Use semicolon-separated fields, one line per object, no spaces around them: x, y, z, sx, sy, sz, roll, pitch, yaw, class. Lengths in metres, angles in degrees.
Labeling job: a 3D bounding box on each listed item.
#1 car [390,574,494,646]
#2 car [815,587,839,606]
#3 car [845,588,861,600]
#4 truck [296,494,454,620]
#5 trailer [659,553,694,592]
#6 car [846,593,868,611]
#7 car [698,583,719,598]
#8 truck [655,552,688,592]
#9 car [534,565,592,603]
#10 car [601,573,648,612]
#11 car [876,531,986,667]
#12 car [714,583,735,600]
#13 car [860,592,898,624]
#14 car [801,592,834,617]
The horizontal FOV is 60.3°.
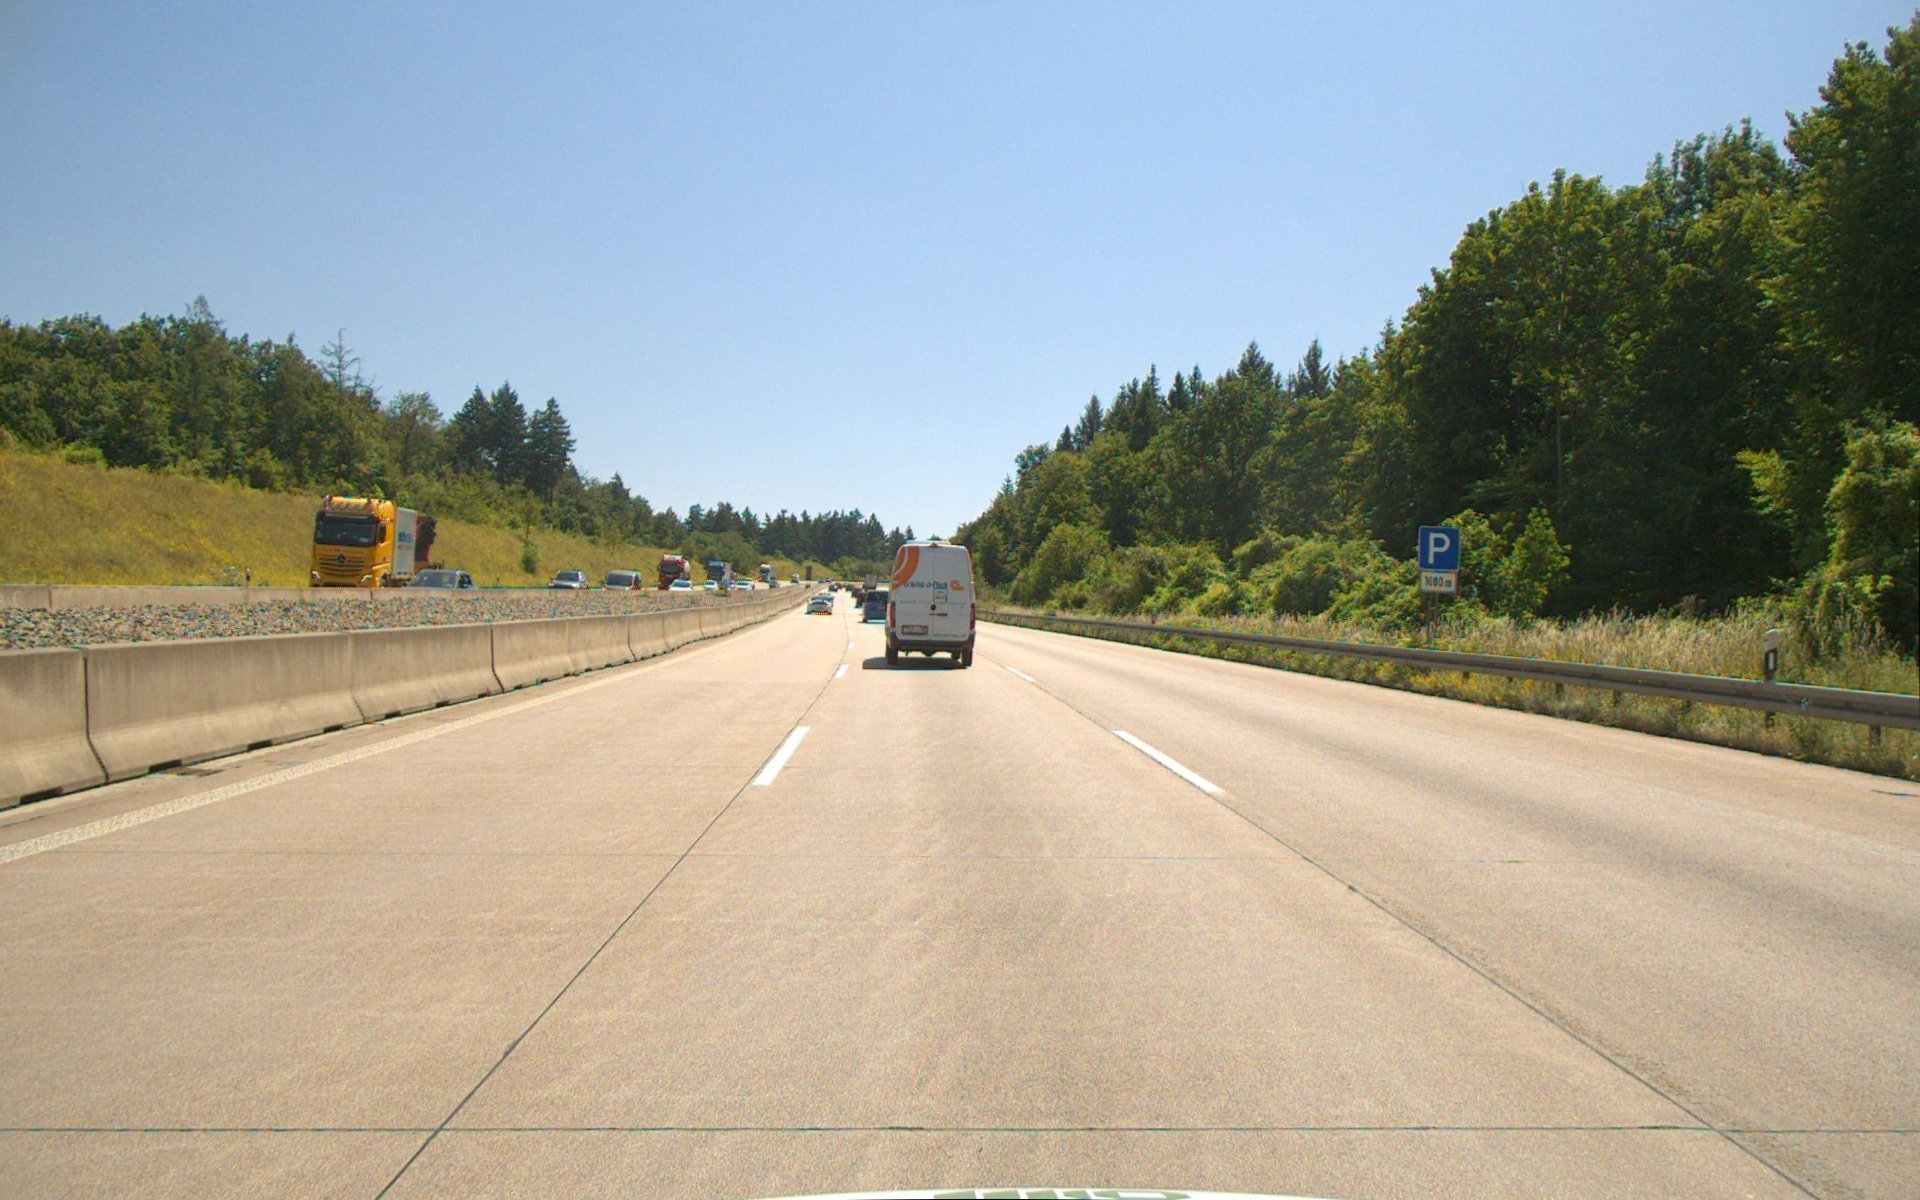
-15.512;0.284;49.753;1.953;2.049;3.999;1;0;-2;car
-13.072;-0.368;162.583;1.953;1.713;3.999;3;0;0;car
-16.013;-0.884;247.846;1.953;1.713;3.999;3;0;0;car
-23.301;-1.591;66.675;2.856;4.592;11.251;1;0;-3;truck
-32.884;-3.120;192.022;2.876;4.241;9.327;3;0;-4;trailer
-10.497;0.245;169.073;1.953;1.713;3.999;3;0;0;car
-29.082;-1.056;191.403;1.954;1.610;4.176;3;0;-4;car
-32.524;-3.116;186.764;2.876;4.241;5.977;3;0;-4;truck
-22.322;-0.887;93.175;2.237;2.049;4.801;1;0;-2;car
-18.245;-0.414;90.071;1.955;2.049;4.456;1;0;-5;car
-0.761;-0.051;38.402;2.183;2.894;5.449;1;1;-5;car
-28.372;-1.014;199.432;1.954;1.905;4.964;3;0;-4;car
-4.670;0.470;95.761;1.953;1.713;3.999;3;0;0;car
-10.423;0.338;121.266;1.953;1.713;3.999;3;0;0;car
